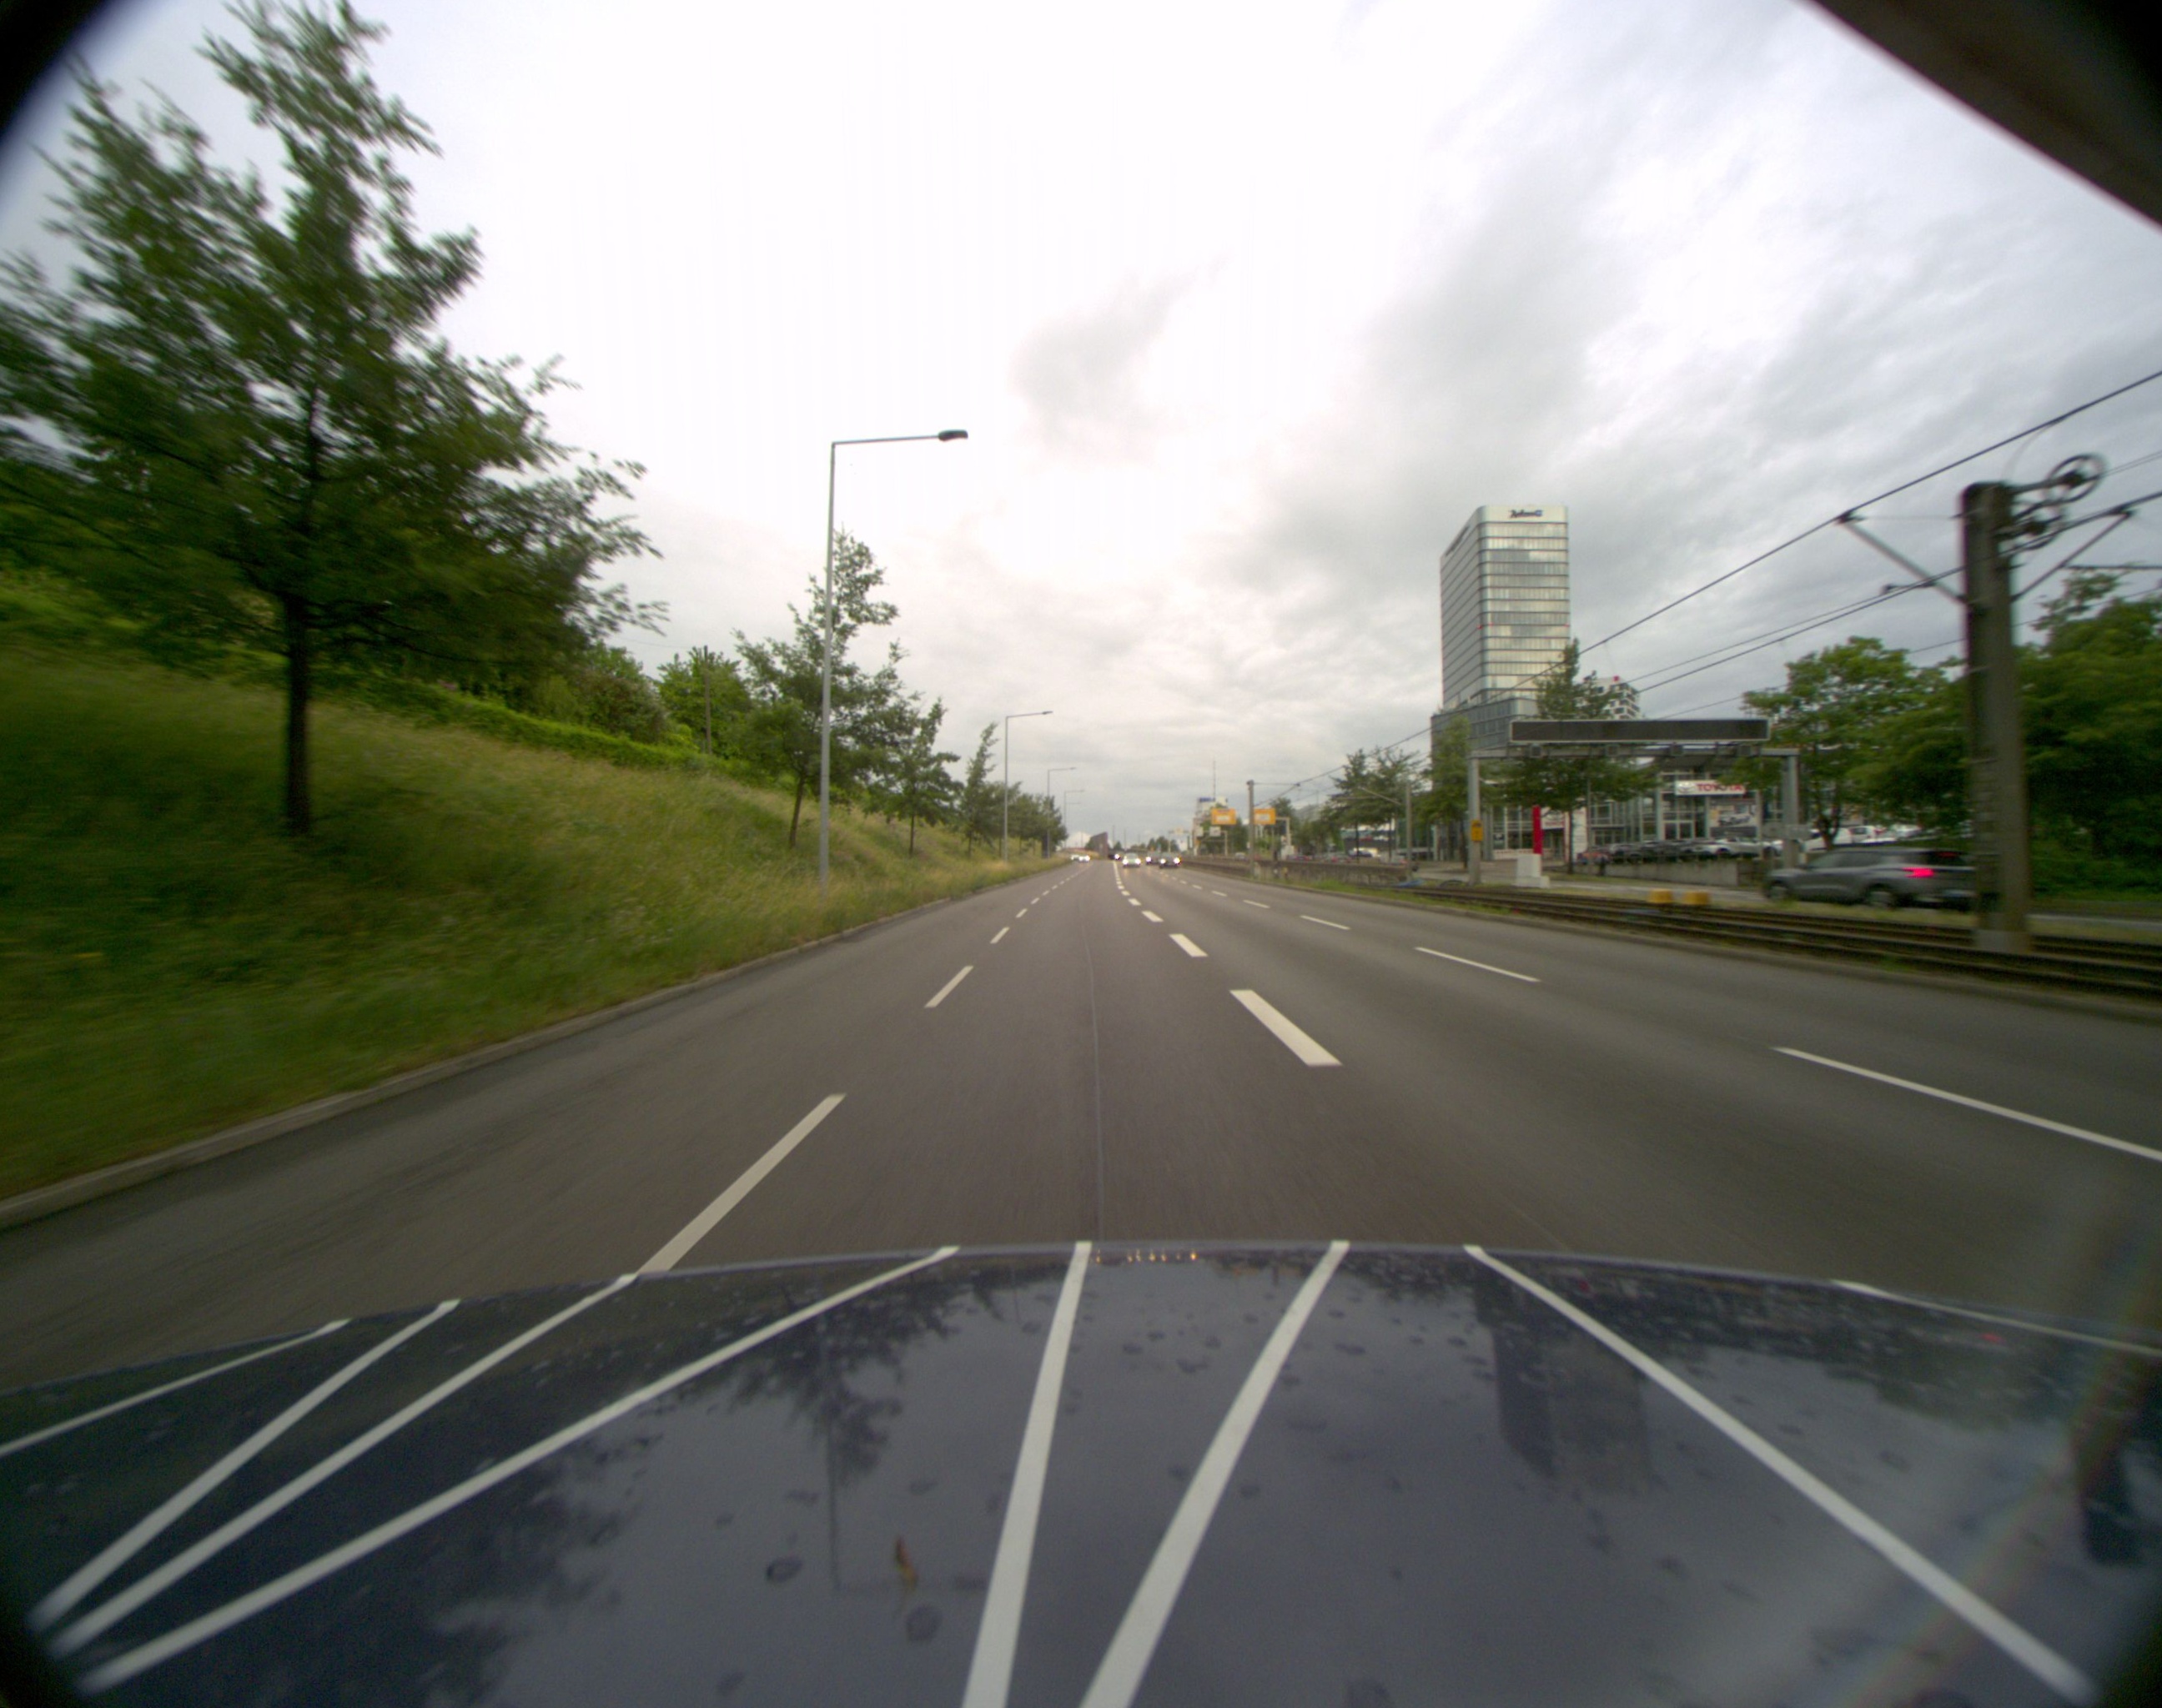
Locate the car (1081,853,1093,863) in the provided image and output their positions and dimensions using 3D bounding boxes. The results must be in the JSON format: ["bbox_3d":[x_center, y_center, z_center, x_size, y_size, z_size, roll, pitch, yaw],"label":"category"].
[{"bbox_3d":[1.084,0.706,133.170,1.793,1.621,4.378,-2,1,5],"label":"car"}]

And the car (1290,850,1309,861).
[{"bbox_3d":[29.798,0.214,103.750,1.770,1.302,4.112,-2,1,4],"label":"car"}]

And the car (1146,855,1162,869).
[{"bbox_3d":[8.669,0.907,90.449,1.793,1.535,4.378,-2,1,5],"label":"car"}]

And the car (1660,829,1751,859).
[{"bbox_3d":[40.391,-0.650,49.211,4.195,1.762,1.885,-2,1,6],"label":"car"}]

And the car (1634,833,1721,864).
[{"bbox_3d":[40.552,-0.401,51.734,4.362,1.936,1.885,-2,1,6],"label":"car"}]

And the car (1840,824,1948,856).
[{"bbox_3d":[49.831,-0.860,46.650,4.362,1.804,1.885,-2,1,6],"label":"car"}]

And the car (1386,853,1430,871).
[{"bbox_3d":[30.216,0.721,70.332,2.052,1.520,4.568,-2,-1,0],"label":"car"}]

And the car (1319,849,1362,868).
[{"bbox_3d":[22.071,0.400,64.868,2.052,1.530,4.760,-2,-1,1],"label":"car"}]

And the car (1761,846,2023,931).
[{"bbox_3d":[19.429,0.764,18.548,1.925,1.766,4.225,-2,-1,2],"label":"car"}]

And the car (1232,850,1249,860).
[{"bbox_3d":[23.757,0.139,113.356,1.793,1.392,4.875,-2,1,4],"label":"car"}]

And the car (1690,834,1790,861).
[{"bbox_3d":[40.642,-0.417,46.939,4.362,1.495,1.885,-2,1,6],"label":"car"}]

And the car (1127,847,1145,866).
[{"bbox_3d":[5.917,0.277,81.497,1.793,1.858,4.378,-2,1,5],"label":"car"}]

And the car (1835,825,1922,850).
[{"bbox_3d":[55.262,-1.128,52.688,3.916,1.584,1.803,-2,1,6],"label":"car"}]

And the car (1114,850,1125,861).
[{"bbox_3d":[7.086,0.311,139.262,1.793,1.858,4.378,-2,1,5],"label":"car"}]

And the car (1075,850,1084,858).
[{"bbox_3d":[-0.278,-0.031,154.867,1.794,1.621,4.377,-2,1,1],"label":"car"}]

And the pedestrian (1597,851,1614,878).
[{"bbox_3d":[35.706,0.684,51.724,0.688,1.786,0.637,-2,1,4],"label":"pedestrian"}]

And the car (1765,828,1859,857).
[{"bbox_3d":[49.746,-0.784,51.762,4.362,1.804,1.885,-2,1,6],"label":"car"}]

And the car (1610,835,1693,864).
[{"bbox_3d":[40.515,-0.335,54.045,4.362,1.936,1.885,-2,1,6],"label":"car"}]

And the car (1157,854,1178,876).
[{"bbox_3d":[8.229,1.040,72.347,1.793,1.858,4.378,-2,1,5],"label":"car"}]
